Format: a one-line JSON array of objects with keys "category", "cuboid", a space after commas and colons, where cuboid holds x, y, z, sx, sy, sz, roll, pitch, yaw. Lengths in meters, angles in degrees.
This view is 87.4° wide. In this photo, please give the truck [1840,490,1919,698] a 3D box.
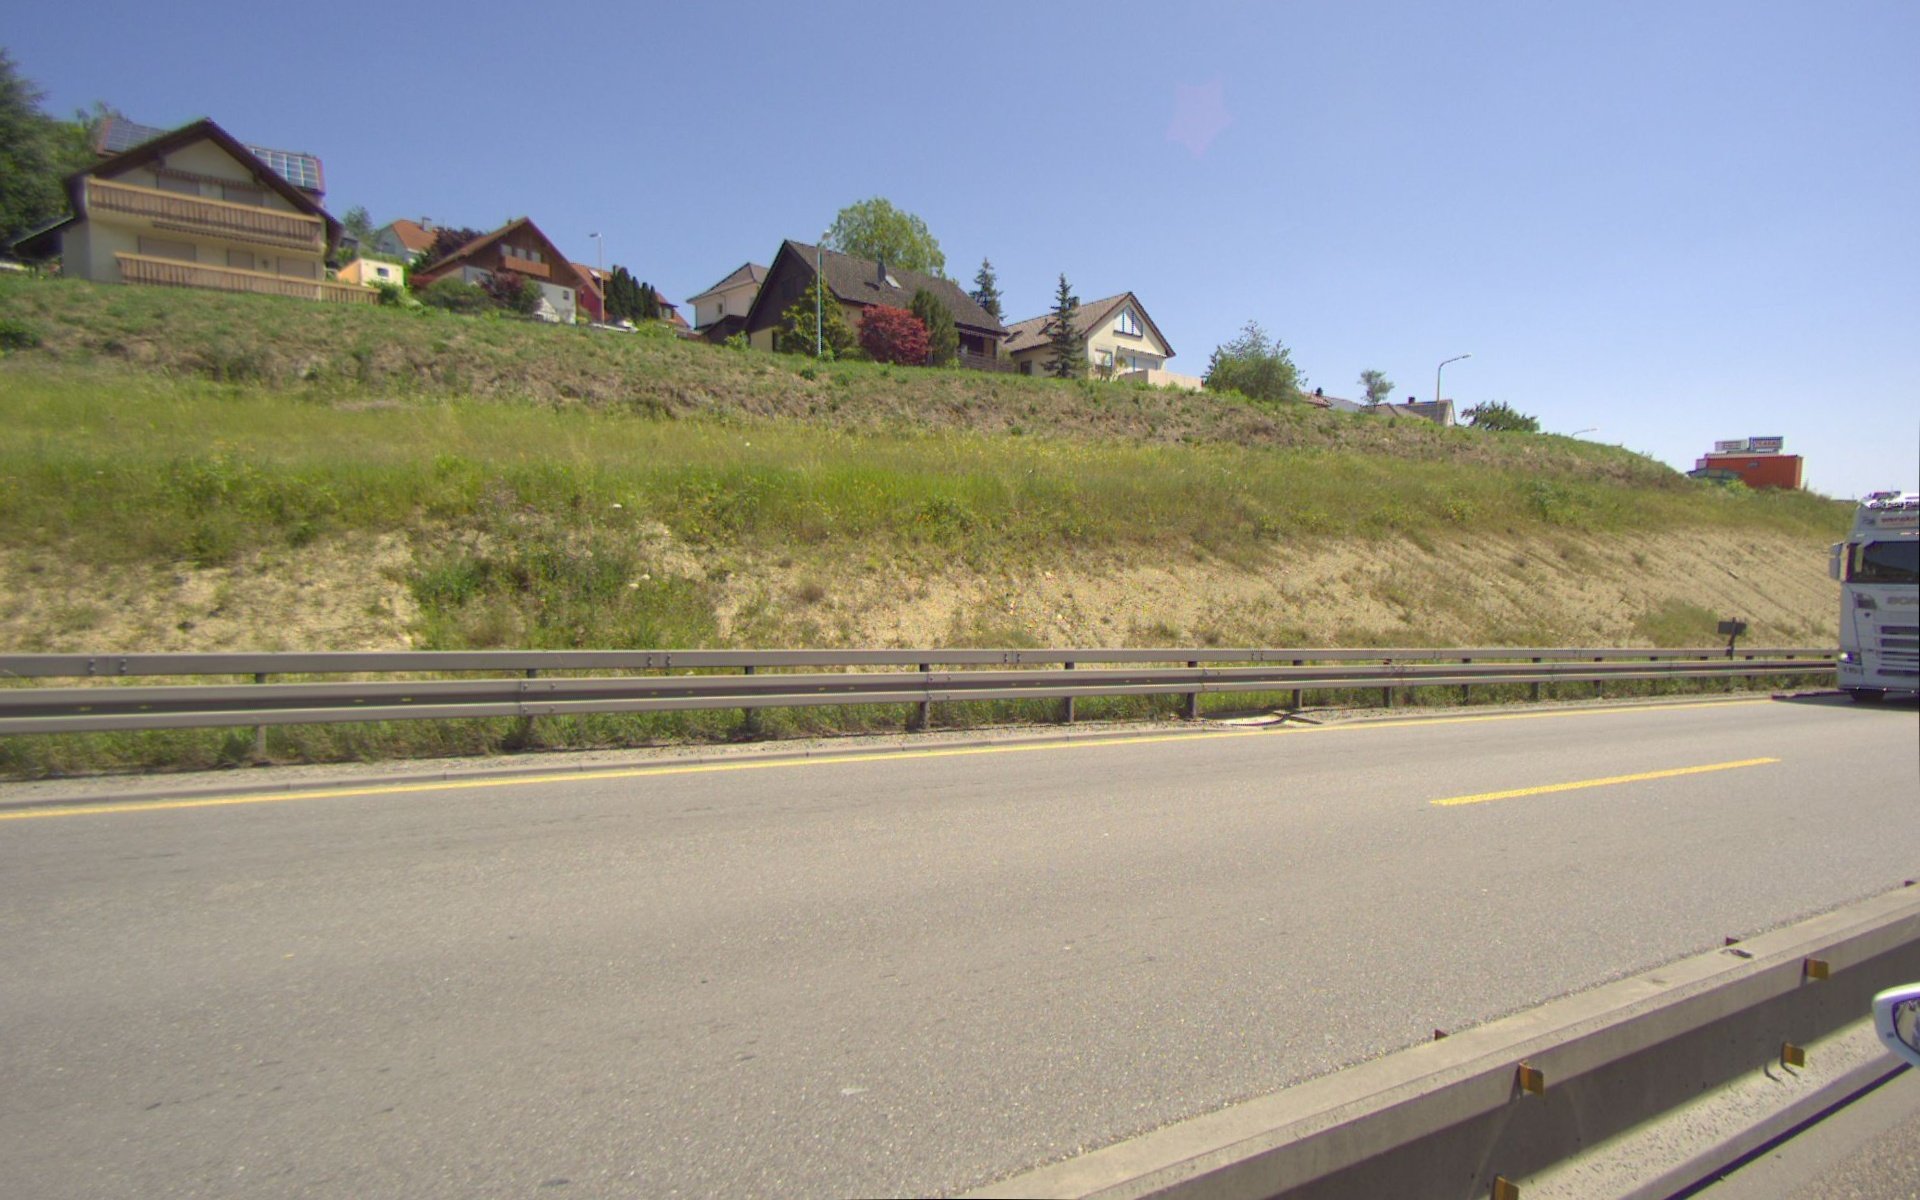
[{"category": "truck", "cuboid": [25.459, 0.035, 23.542, 13.818, 4.215, 3.227, 2, 0, -31]}]

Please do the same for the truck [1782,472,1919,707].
[{"category": "truck", "cuboid": [18.847, -0.145, 19.482, 4.198, 4.215, 3.223, 1, 0, -31]}]
